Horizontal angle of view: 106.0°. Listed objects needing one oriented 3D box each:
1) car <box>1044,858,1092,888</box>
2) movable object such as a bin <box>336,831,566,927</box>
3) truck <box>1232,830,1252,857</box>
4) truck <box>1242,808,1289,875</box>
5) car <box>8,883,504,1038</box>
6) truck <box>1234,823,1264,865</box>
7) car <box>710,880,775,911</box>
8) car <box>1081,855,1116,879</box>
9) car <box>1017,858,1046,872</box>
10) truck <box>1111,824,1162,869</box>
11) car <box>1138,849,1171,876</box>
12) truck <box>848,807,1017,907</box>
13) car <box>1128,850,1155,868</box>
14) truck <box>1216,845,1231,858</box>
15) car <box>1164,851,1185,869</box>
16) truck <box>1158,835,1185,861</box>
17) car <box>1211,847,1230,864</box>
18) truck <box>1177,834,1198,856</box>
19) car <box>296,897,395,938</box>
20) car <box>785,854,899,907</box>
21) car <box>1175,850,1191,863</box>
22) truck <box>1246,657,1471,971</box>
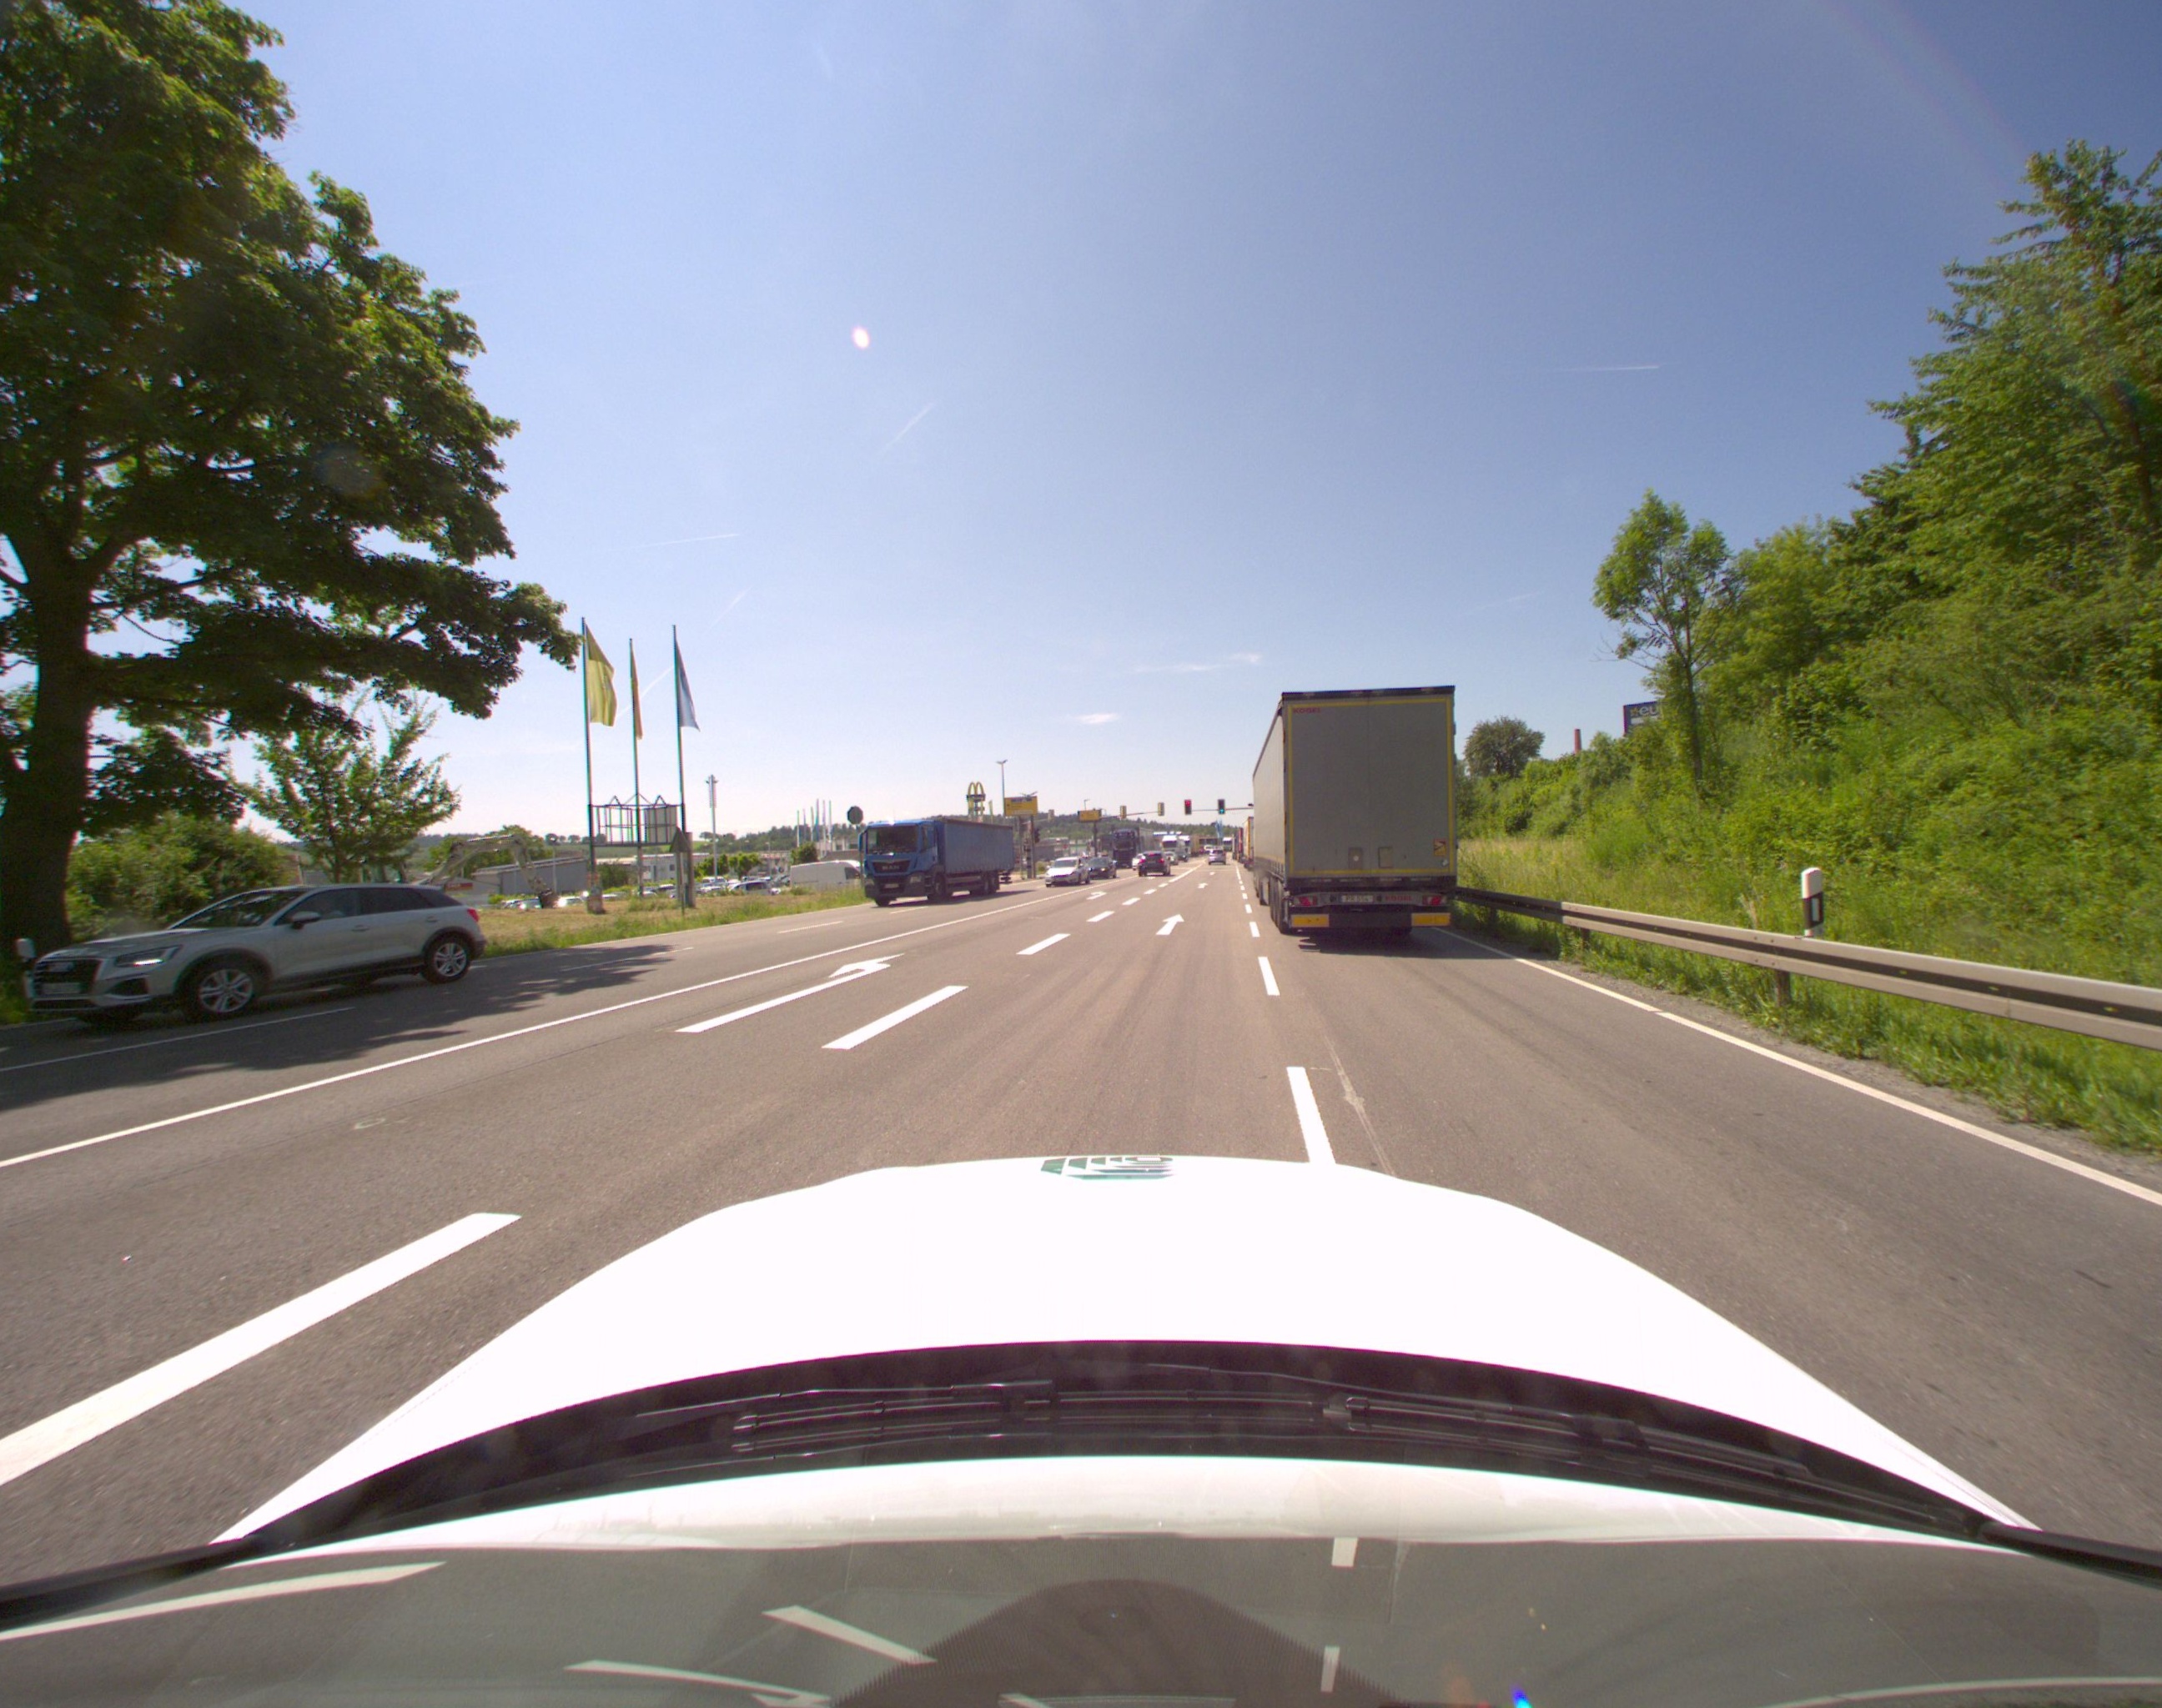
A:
[{"bbox_3d":[-0.602,0.963,42.747,1.778,1.426,4.274,-1,0,9],"label":"car"},{"bbox_3d":[-24.488,0.869,32.039,6.825,3.298,3.017,-2,0,-38],"label":"movable object such as a bin"},{"bbox_3d":[23.861,-1.455,120.985,2.592,3.717,9.476,-1,-1,10],"label":"truck"},{"bbox_3d":[14.467,-0.722,65.018,2.857,4.639,16.700,-1,-1,10],"label":"truck"},{"bbox_3d":[-10.112,1.195,10.551,1.750,1.428,4.193,-2,0,11],"label":"car"},{"bbox_3d":[19.671,-0.933,96.064,2.857,4.479,16.700,-1,-1,10],"label":"truck"},{"bbox_3d":[-24.933,3.030,60.095,4.018,2.014,1.977,-2,-2,-37],"label":"car"},{"bbox_3d":[1.144,0.771,51.661,1.653,1.403,4.026,-2,0,8],"label":"car"},{"bbox_3d":[-7.728,1.647,127.298,4.023,2.013,1.920,-2,0,-44],"label":"car"},{"bbox_3d":[6.317,-0.818,89.159,3.125,4.349,17.597,-3,0,11],"label":"truck"},{"bbox_3d":[4.893,0.542,53.643,1.783,1.627,4.381,-2,0,9],"label":"car"},{"bbox_3d":[-5.626,0.137,33.905,2.828,3.351,11.517,-2,-1,11],"label":"truck"},{"bbox_3d":[5.459,0.470,73.072,1.729,1.503,4.419,-4,-2,11],"label":"car"},{"bbox_3d":[45.700,-0.924,261.205,3.246,3.950,13.923,-2,0,16],"label":"truck"},{"bbox_3d":[10.190,0.646,88.348,1.799,1.508,4.963,-3,4,11],"label":"car"},{"bbox_3d":[14.769,-0.898,131.923,2.915,3.950,14.283,-2,0,12],"label":"truck"},{"bbox_3d":[14.792,0.172,86.059,1.792,1.670,4.306,-1,0,12],"label":"car"},{"bbox_3d":[20.501,-1.716,156.115,2.915,3.950,13.911,-2,0,12],"label":"truck"},{"bbox_3d":[-41.387,3.546,45.951,4.019,2.014,1.977,0,-2,-39],"label":"car"},{"bbox_3d":[-14.395,1.582,49.205,5.963,2.487,2.198,-6,-1,4],"label":"car"},{"bbox_3d":[13.058,0.297,104.531,1.653,1.508,3.917,-3,0,11],"label":"car"},{"bbox_3d":[5.797,-0.447,20.438,2.738,4.639,16.700,-1,-1,10],"label":"truck"}]
